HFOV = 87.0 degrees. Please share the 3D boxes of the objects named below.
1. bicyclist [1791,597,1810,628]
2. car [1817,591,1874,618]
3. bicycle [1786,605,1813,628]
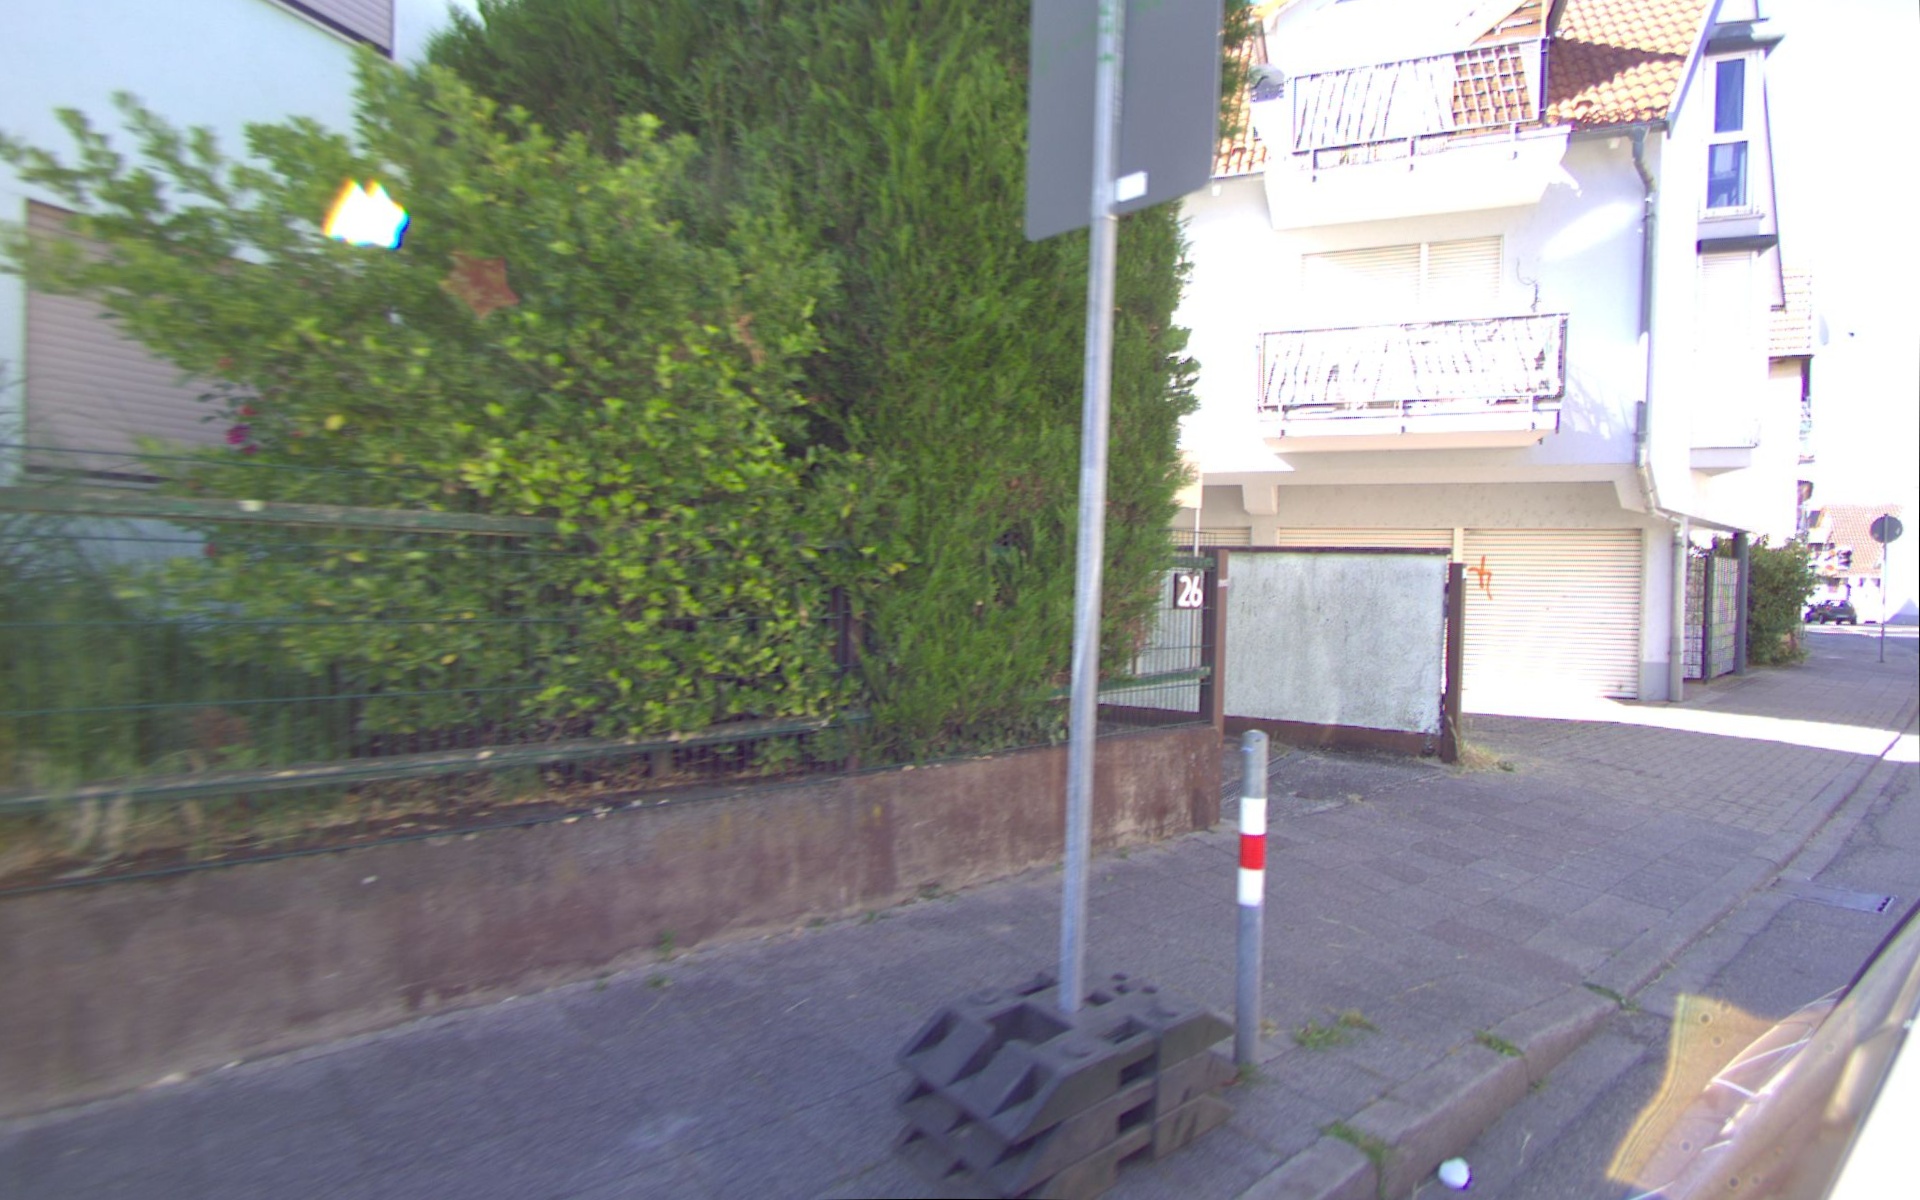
[{"bbox_3d":[47.526,0.710,57.237,0.637,1.685,0.599,2,1,26],"label":"bicyclist"},{"bbox_3d":[52.084,0.219,59.615,1.532,1.477,3.683,2,1,25],"label":"car"},{"bbox_3d":[47.567,0.942,57.343,0.633,1.197,2.004,2,2,25],"label":"bicycle"}]
